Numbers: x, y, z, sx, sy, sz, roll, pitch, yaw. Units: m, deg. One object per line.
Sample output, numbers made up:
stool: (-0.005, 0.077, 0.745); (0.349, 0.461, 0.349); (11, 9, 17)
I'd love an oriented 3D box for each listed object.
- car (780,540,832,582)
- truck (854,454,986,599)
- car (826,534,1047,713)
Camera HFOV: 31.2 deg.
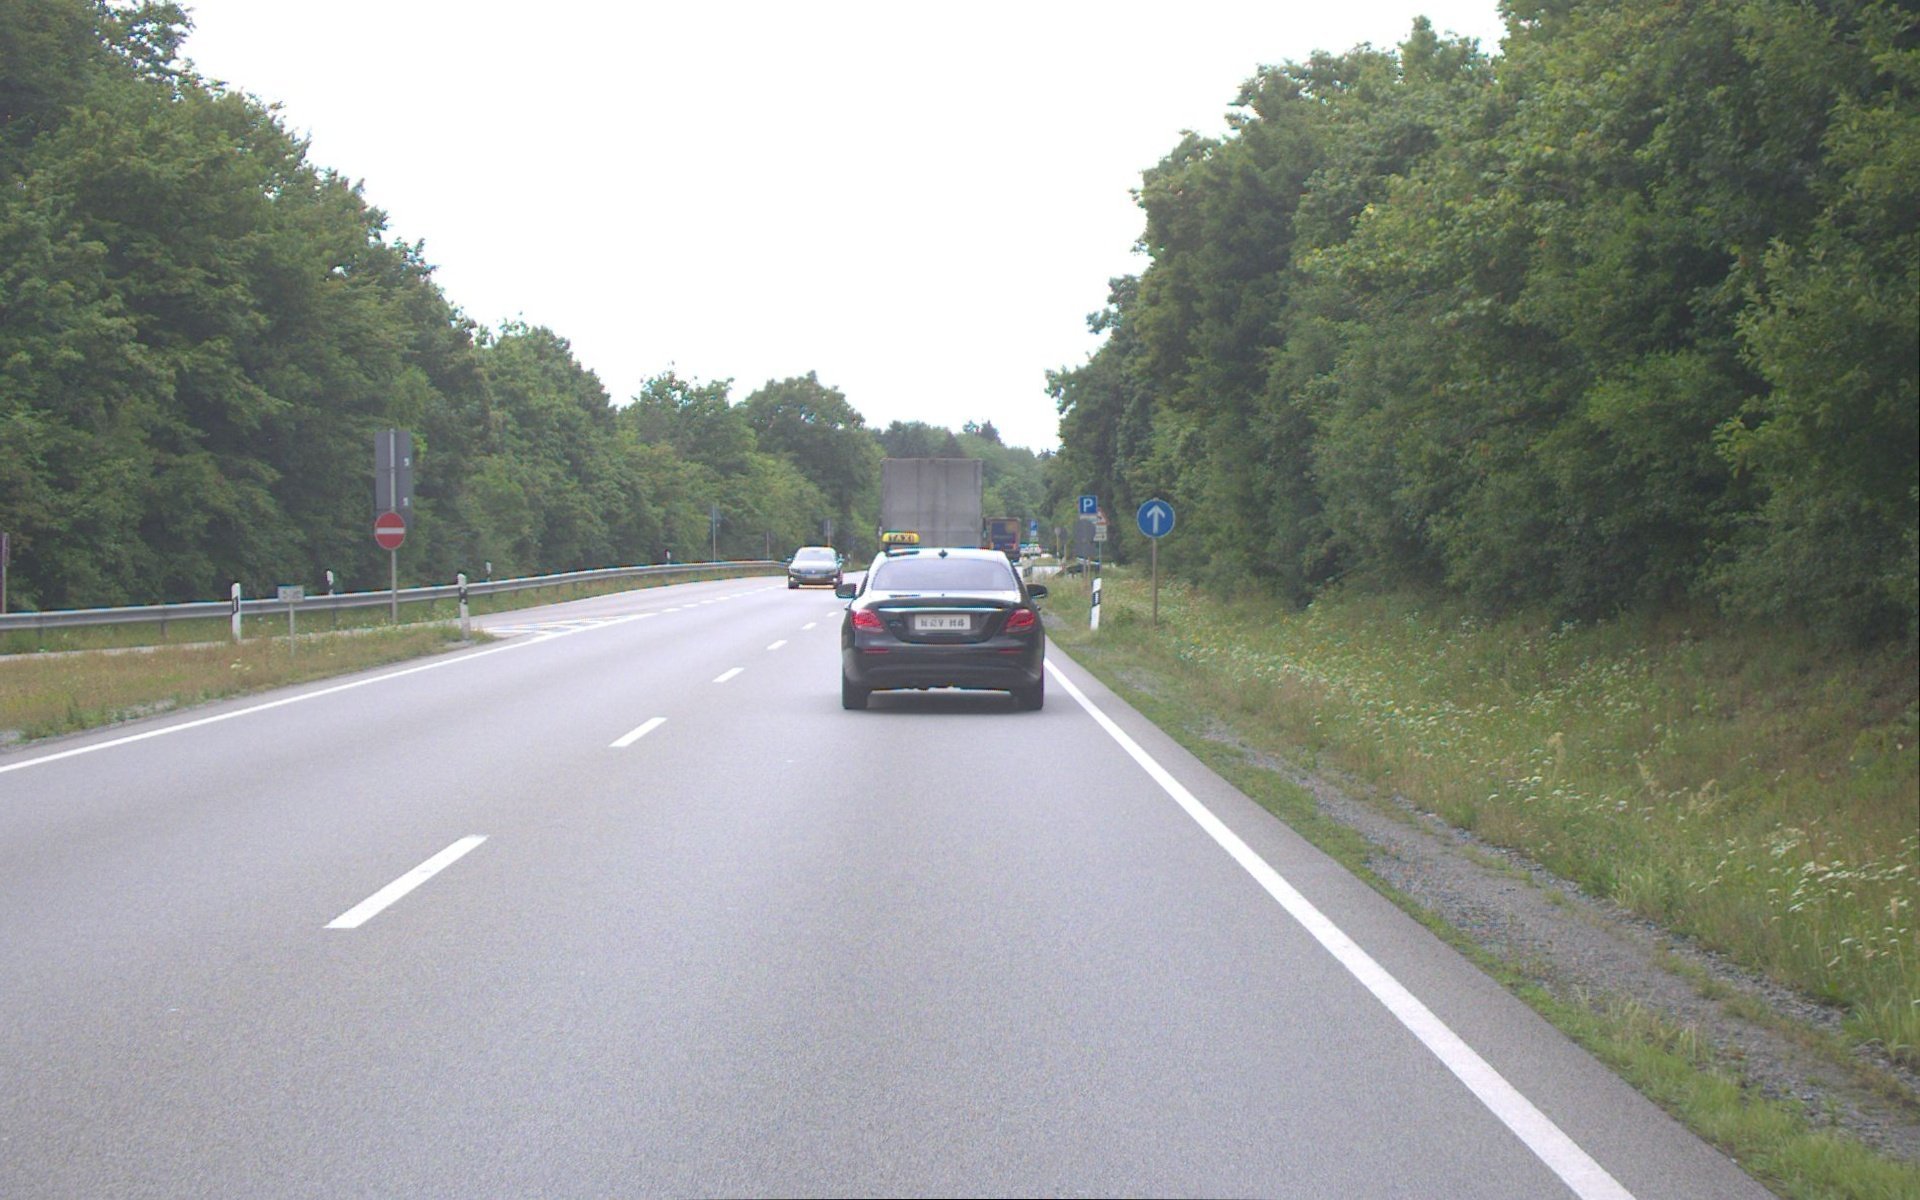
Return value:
car: (-5.471, -1.402, 122.395); (1.808, 1.437, 4.448); (0, 1, -2)
truck: (-1.003, -1.936, 91.618); (3.281, 3.599, 11.400); (0, 1, 0)
car: (-0.278, 0.172, 31.879); (1.791, 1.546, 4.001); (0, 1, -4)
